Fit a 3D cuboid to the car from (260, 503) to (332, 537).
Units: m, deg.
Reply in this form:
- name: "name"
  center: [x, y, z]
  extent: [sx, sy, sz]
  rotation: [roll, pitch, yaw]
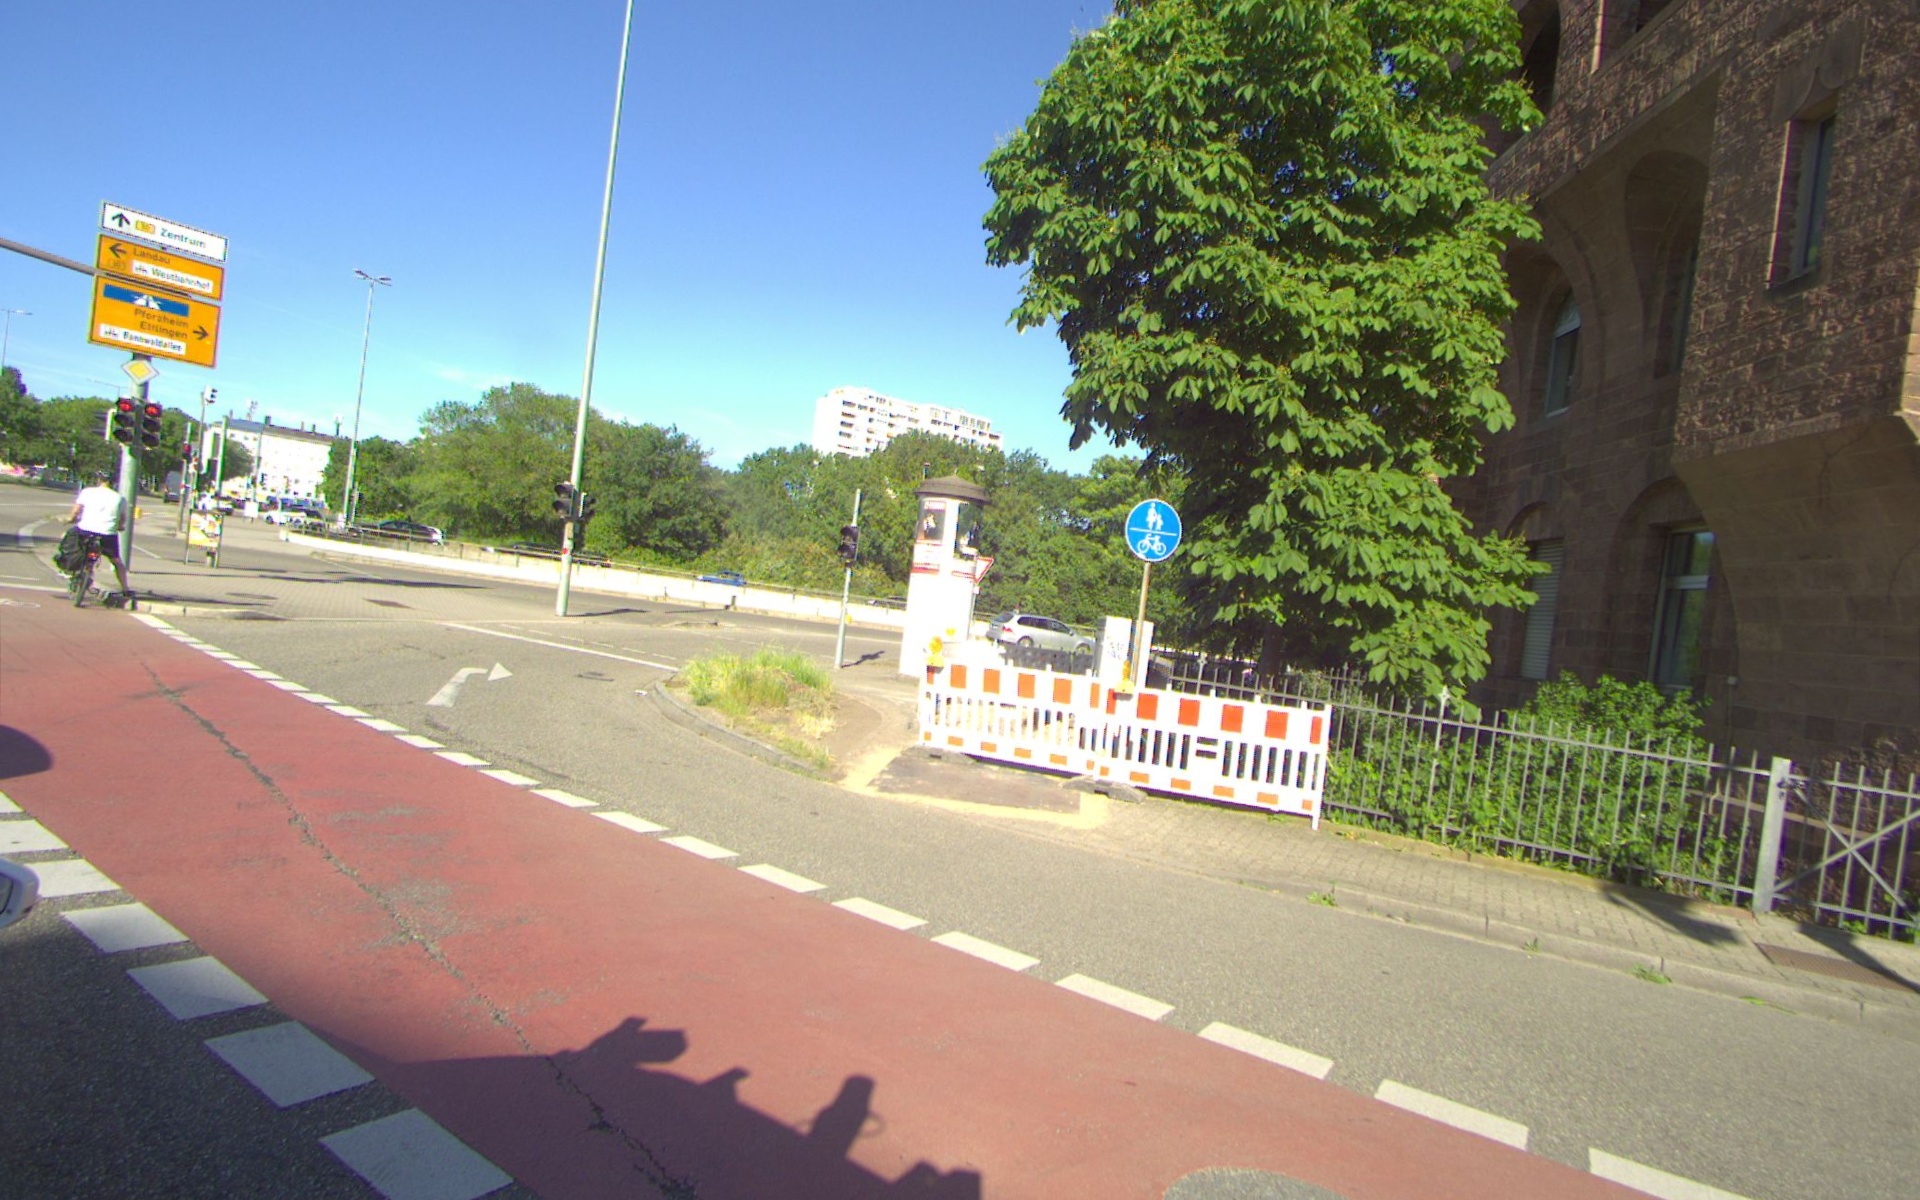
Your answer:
- name: "car"
  center: [-46.675, -5.613, 70.756]
  extent: [3.923, 1.770, 2.002]
  rotation: [6, -2, 14]

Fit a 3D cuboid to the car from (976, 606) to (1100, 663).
- name: "car"
  center: [3.007, 1.315, 38.551]
  extent: [4.298, 1.512, 1.744]
  rotation: [9, 0, -26]

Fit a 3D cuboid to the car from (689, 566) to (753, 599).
- name: "car"
  center: [-17.557, -1.266, 73.878]
  extent: [4.204, 1.876, 2.010]
  rotation: [7, -2, -23]

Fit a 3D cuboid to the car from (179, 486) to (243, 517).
- name: "car"
  center: [-55.263, -7.253, 74.237]
  extent: [3.928, 1.770, 2.000]
  rotation: [5, -2, 24]

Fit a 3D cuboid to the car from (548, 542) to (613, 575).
- name: "car"
  center: [-26.614, -2.899, 70.693]
  extent: [3.937, 1.681, 1.995]
  rotation: [7, -2, -15]

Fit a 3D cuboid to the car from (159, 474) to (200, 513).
- name: "car"
  center: [-66.594, -9.044, 85.871]
  extent: [2.240, 2.638, 4.844]
  rotation: [7, -2, -34]

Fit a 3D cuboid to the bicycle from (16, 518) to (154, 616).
- name: "bicycle"
  center: [-11.786, -0.460, 13.650]
  extent: [0.793, 1.124, 2.385]
  rotation: [8, 0, -28]

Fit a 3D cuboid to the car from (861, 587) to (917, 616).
- name: "car"
  center: [-5.586, 0.113, 79.195]
  extent: [3.946, 1.638, 1.718]
  rotation: [8, 1, -22]

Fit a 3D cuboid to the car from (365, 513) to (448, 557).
- name: "car"
  center: [-33.559, -3.893, 61.089]
  extent: [3.943, 2.037, 1.992]
  rotation: [7, -2, -20]

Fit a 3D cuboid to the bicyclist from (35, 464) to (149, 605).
- name: "bicyclist"
  center: [-11.728, -0.872, 13.641]
  extent: [0.793, 1.725, 1.077]
  rotation: [7, 0, -28]
